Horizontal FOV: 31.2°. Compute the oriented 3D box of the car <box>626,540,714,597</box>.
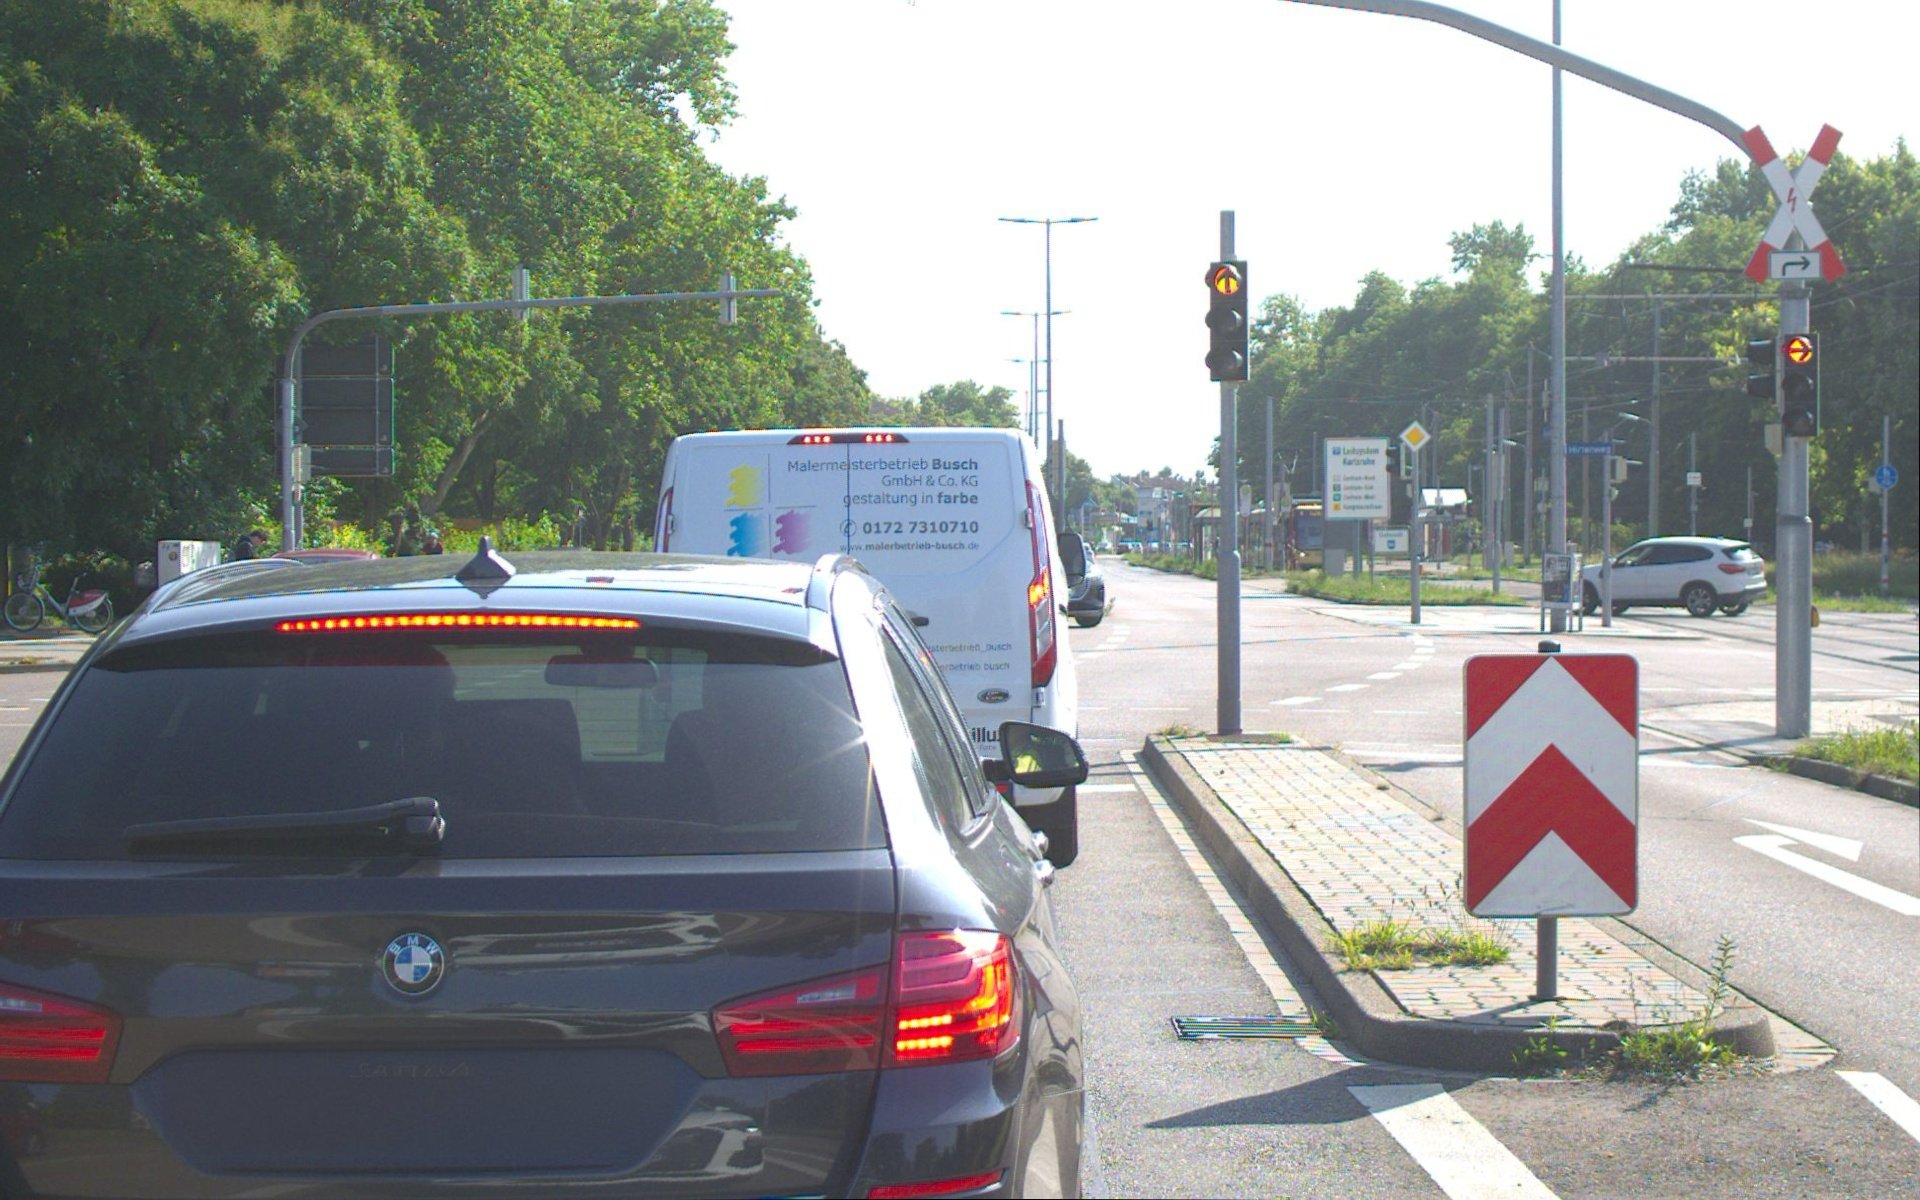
[{"bbox_3d":[-7.375,-0.827,87.840,1.779,1.410,4.245,0,1,2],"label":"car"}]

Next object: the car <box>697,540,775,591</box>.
[{"bbox_3d":[-6.919,-1.057,106.570,1.703,1.460,4.368,-1,-1,6],"label":"car"}]

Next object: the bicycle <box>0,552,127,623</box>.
[{"bbox_3d":[-14.274,-0.198,54.651,1.909,1.115,0.632,0,1,0],"label":"bicycle"}]

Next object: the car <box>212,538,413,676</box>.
[{"bbox_3d":[-7.476,0.042,39.965,1.694,1.493,3.676,-1,1,-1],"label":"car"}]

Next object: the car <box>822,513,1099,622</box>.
[{"bbox_3d":[-0.031,-0.542,56.306,4.619,1.716,1.645,1,1,42],"label":"car"}]

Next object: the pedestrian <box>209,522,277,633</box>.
[{"bbox_3d":[-11.367,-0.369,54.541,0.816,1.746,0.931,0,1,5],"label":"pedestrian"}]

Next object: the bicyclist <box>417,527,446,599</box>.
[{"bbox_3d":[-11.486,-0.813,74.691,0.607,1.555,0.603,0,1,-7],"label":"bicyclist"}]

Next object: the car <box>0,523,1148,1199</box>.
[{"bbox_3d":[-0.727,0.612,6.445,1.903,1.500,4.065,0,1,0],"label":"car"}]

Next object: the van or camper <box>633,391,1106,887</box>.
[{"bbox_3d":[-0.345,0.120,16.794,1.993,2.089,4.598,0,1,1],"label":"van or camper"}]

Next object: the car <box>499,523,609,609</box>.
[{"bbox_3d":[-7.824,-0.676,66.546,1.633,1.555,3.676,-2,1,0],"label":"car"}]

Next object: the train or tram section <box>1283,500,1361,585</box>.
[{"bbox_3d":[16.154,-2.521,154.094,2.796,3.606,12.954,1,1,3],"label":"train or tram section"}]

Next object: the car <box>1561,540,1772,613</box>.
[{"bbox_3d":[14.666,-0.512,71.404,3.895,1.481,1.795,1,1,37],"label":"car"}]

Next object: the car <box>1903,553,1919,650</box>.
[{"bbox_3d":[15.494,0.027,47.505,4.395,1.349,2.000,0,1,1],"label":"car"}]

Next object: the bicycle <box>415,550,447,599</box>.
[{"bbox_3d":[-11.486,-0.568,74.681,0.619,1.037,2.072,0,1,-7],"label":"bicycle"}]
